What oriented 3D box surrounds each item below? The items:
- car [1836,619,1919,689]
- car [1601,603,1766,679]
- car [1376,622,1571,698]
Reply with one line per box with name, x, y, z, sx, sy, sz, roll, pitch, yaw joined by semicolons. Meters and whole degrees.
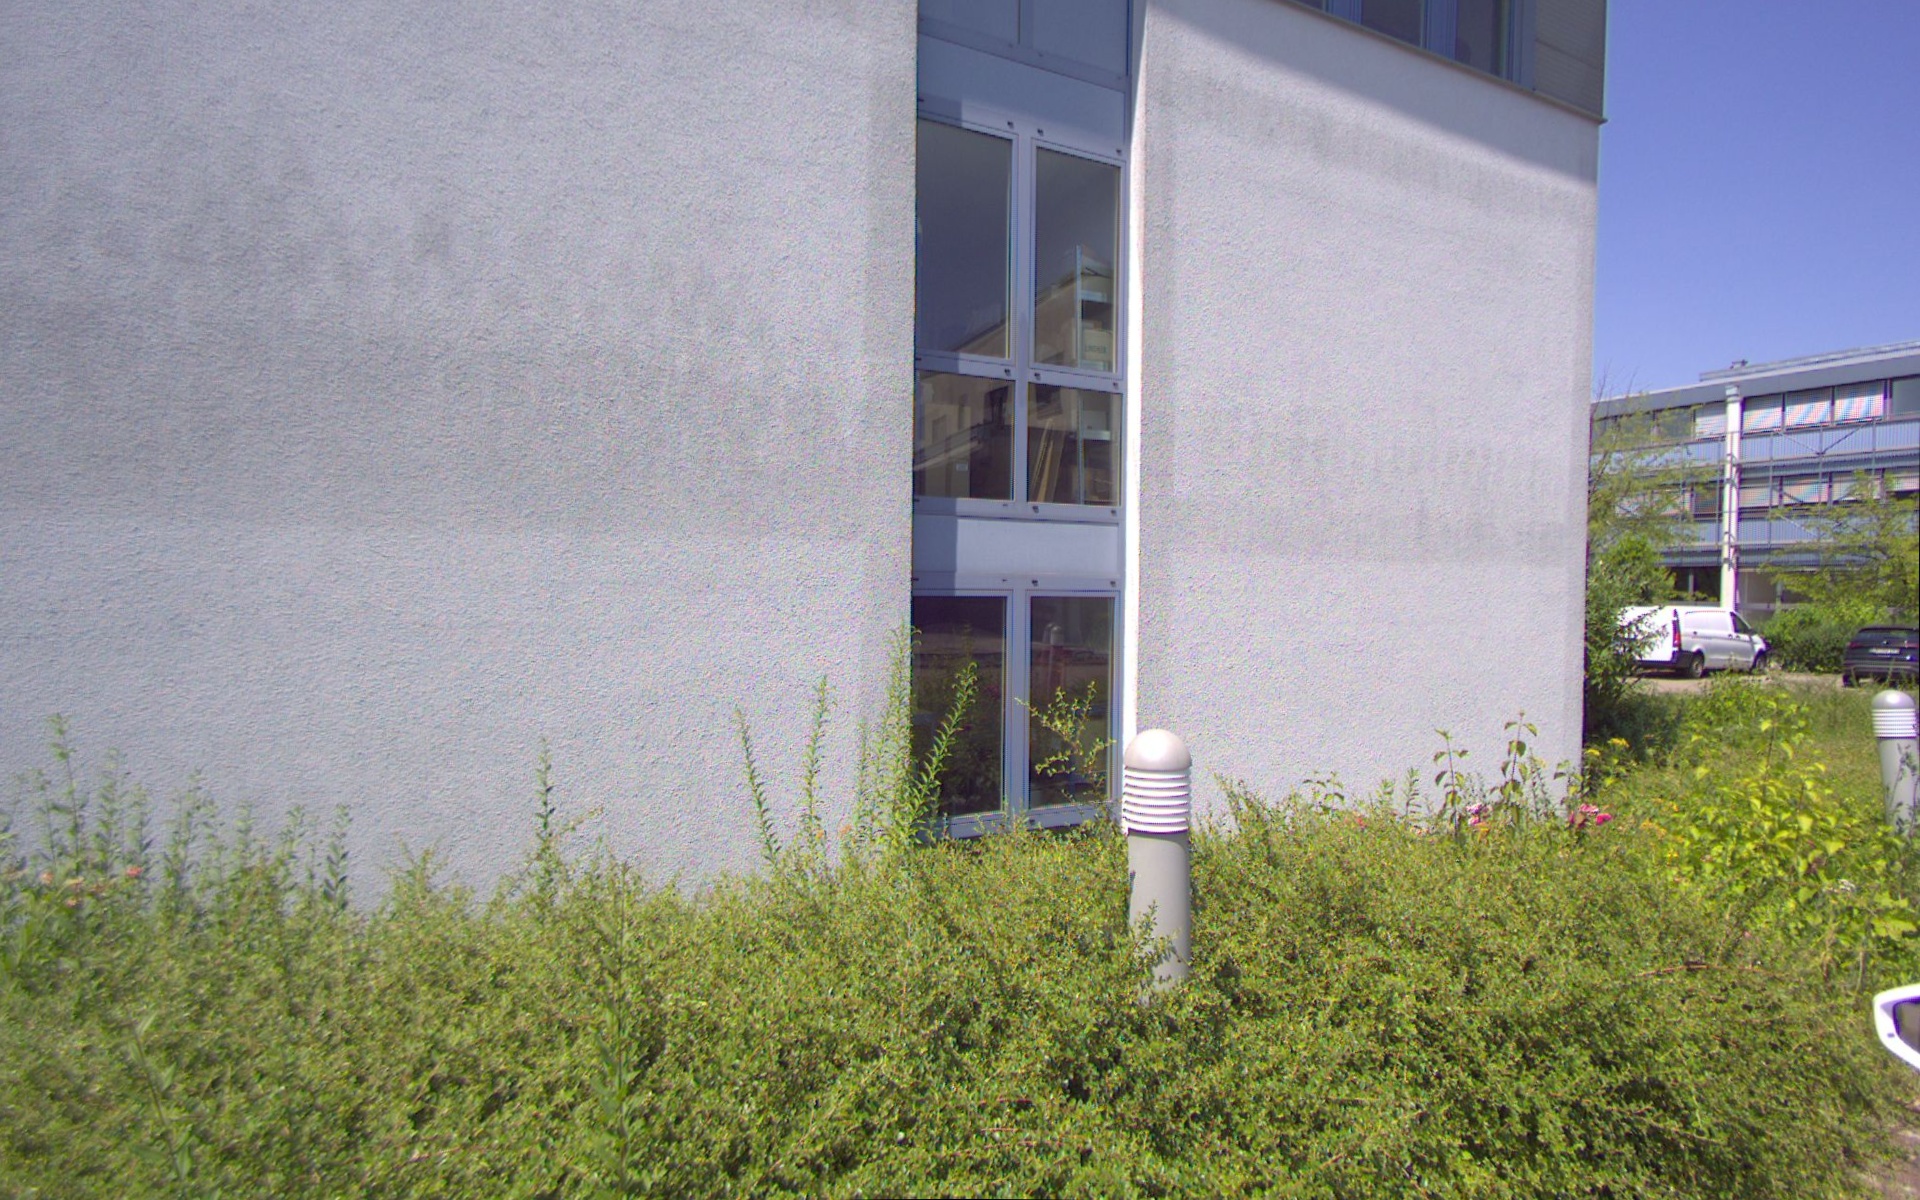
car;22.558;1.240;24.088;3.967;1.496;1.740;0;0;-40
car;19.875;1.056;27.556;4.745;1.916;1.873;0;0;-29
car;11.510;1.263;22.431;4.432;1.492;1.847;1;0;-31
